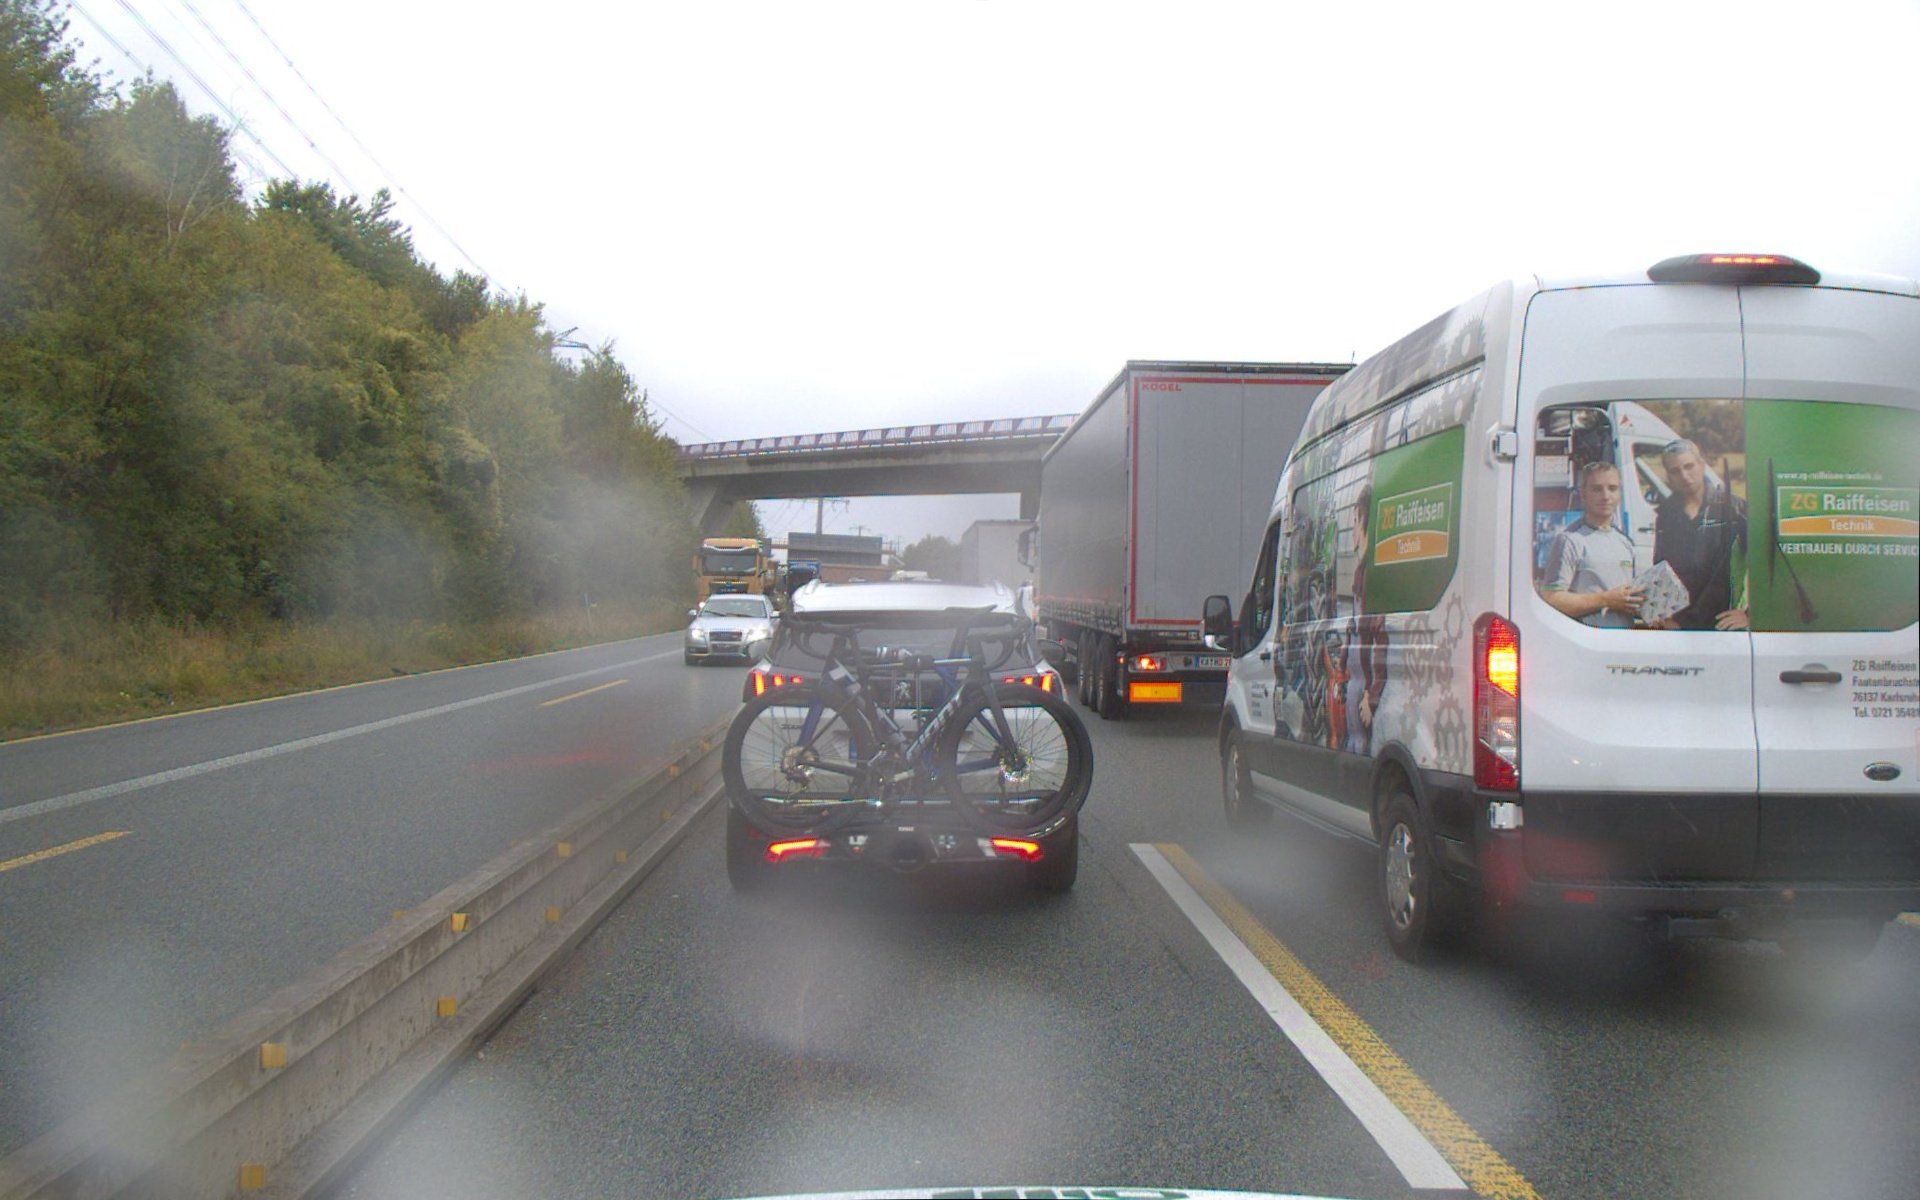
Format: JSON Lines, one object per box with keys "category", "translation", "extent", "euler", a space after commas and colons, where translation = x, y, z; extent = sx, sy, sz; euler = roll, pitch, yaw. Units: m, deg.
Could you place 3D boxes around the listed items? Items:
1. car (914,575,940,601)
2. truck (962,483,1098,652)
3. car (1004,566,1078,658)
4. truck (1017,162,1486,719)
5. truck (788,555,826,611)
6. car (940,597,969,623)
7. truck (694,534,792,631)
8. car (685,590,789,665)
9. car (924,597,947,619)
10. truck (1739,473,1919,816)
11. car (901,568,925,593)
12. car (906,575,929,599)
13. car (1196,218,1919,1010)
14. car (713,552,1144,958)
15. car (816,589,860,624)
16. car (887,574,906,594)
{"category": "car", "translation": [-2.684, -0.935, 134.748], "extent": [1.954, 2.049, 3.997], "euler": [1, 0, -4]}
{"category": "truck", "translation": [2.448, -1.066, 67.234], "extent": [4.646, 5.772, 20.375], "euler": [1, 0, 0]}
{"category": "car", "translation": [2.038, 0.300, 42.794], "extent": [1.636, 2.218, 4.534], "euler": [1, 0, -1]}
{"category": "truck", "translation": [3.406, -1.620, 27.468], "extent": [3.899, 5.772, 20.371], "euler": [1, 0, -1]}
{"category": "truck", "translation": [-12.477, -1.238, 134.021], "extent": [2.713, 4.195, 16.903], "euler": [1, 0, -6]}
{"category": "car", "translation": [-0.333, 0.587, 97.000], "extent": [1.605, 1.524, 3.665], "euler": [1, 0, -1]}
{"category": "truck", "translation": [-9.055, -0.666, 70.395], "extent": [2.627, 3.720, 12.309], "euler": [1, 0, -1]}
{"category": "car", "translation": [-4.686, 0.563, 35.220], "extent": [1.744, 1.469, 4.326], "euler": [1, 0, -2]}
{"category": "car", "translation": [-1.784, 0.595, 121.099], "extent": [1.605, 1.524, 3.665], "euler": [1, 0, -1]}
{"category": "truck", "translation": [10.191, 0.422, 14.288], "extent": [2.469, 3.186, 9.116], "euler": [1, 0, -1]}
{"category": "car", "translation": [-4.597, -1.902, 162.573], "extent": [2.194, 2.348, 4.571], "euler": [1, 0, -1]}
{"category": "car", "translation": [-3.814, -1.177, 149.667], "extent": [1.953, 2.049, 3.999], "euler": [1, 0, -1]}
{"category": "car", "translation": [2.811, 0.067, 8.787], "extent": [2.101, 2.723, 6.115], "euler": [1, 0, -1]}
{"category": "car", "translation": [-0.121, 0.655, 9.201], "extent": [1.773, 1.666, 4.635], "euler": [1, 0, 0]}
{"category": "car", "translation": [-5.912, 0.327, 80.787], "extent": [1.896, 1.635, 4.119], "euler": [1, 0, -1]}
{"category": "car", "translation": [-7.193, -1.797, 188.038], "extent": [1.953, 2.164, 4.526], "euler": [1, 0, -1]}
